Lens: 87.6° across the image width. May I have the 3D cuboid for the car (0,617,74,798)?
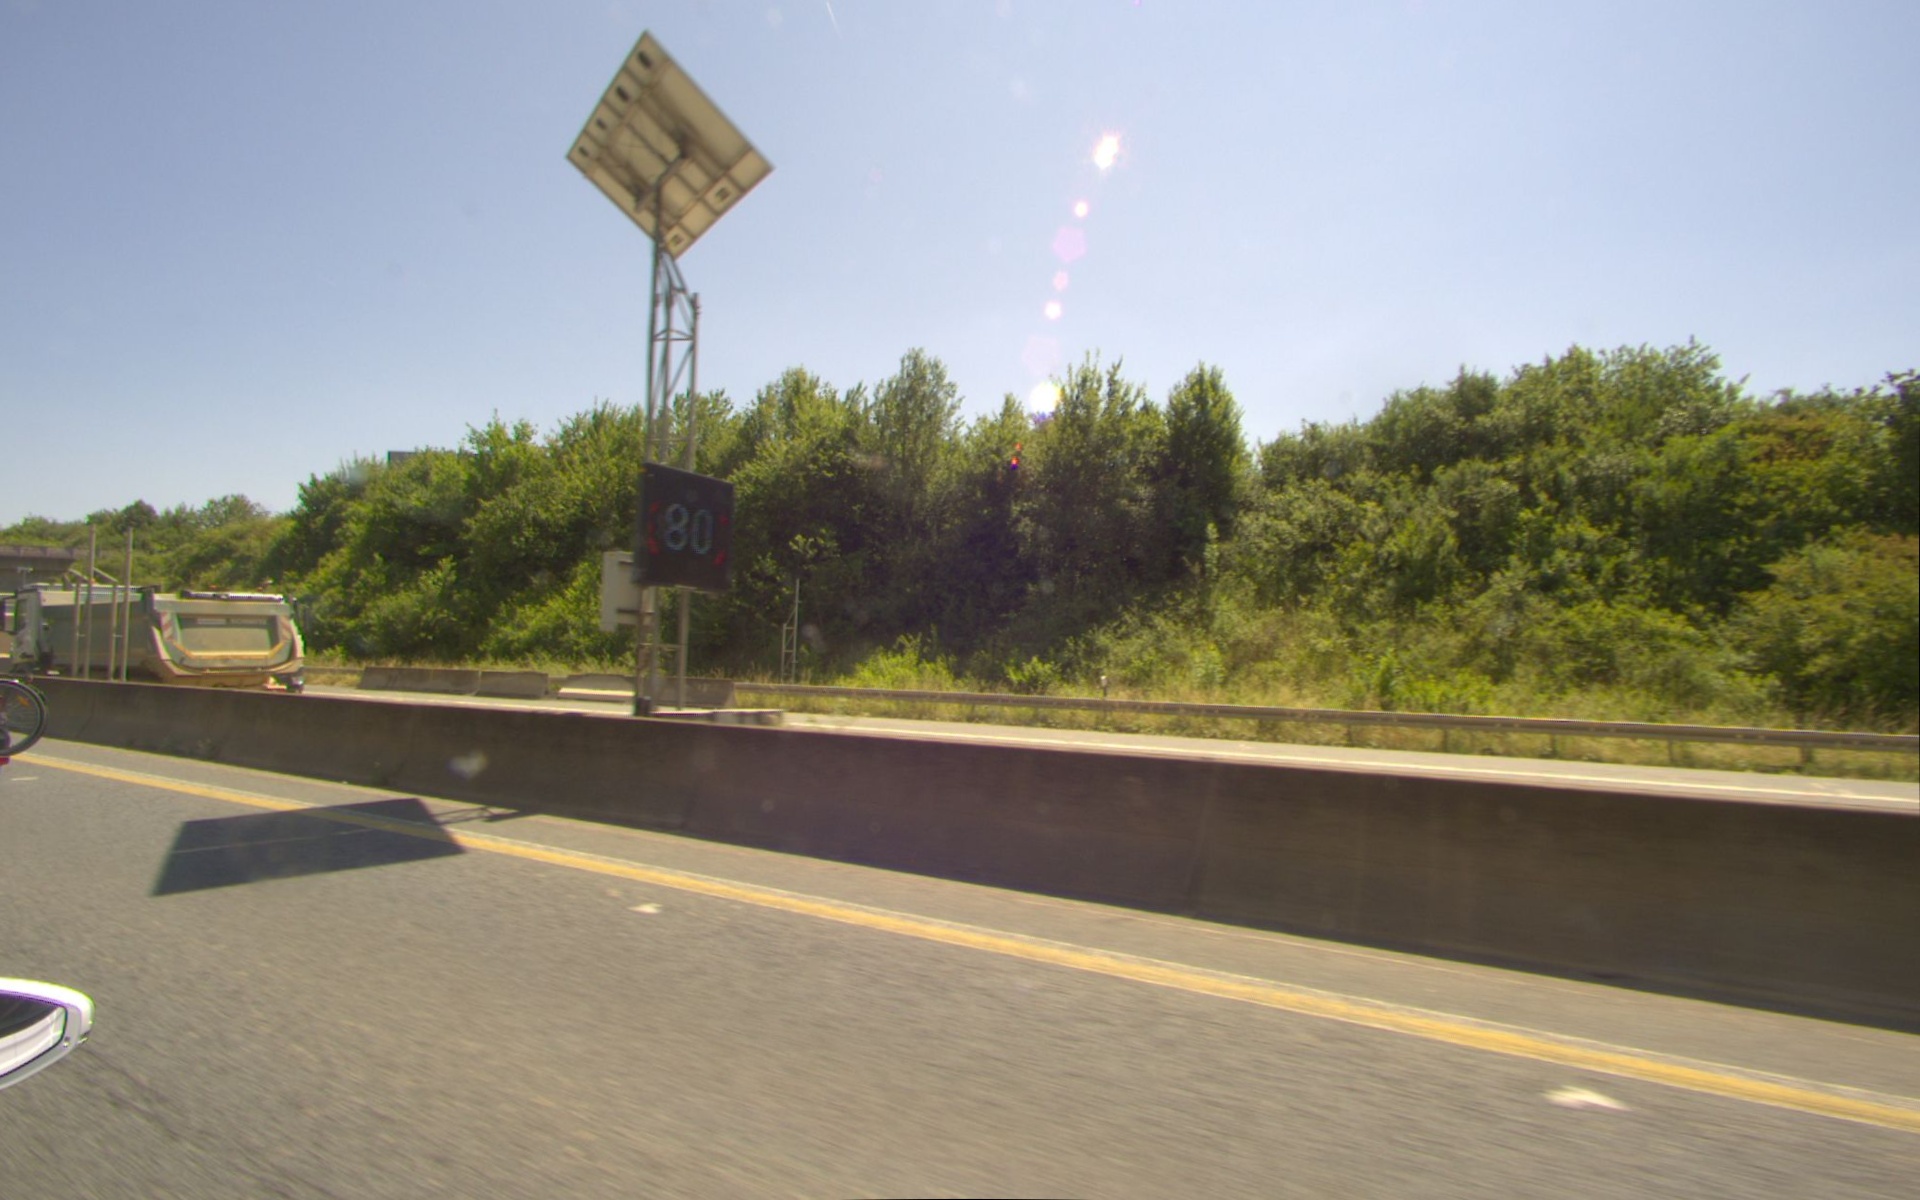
[{"bbox_3d":[-10.296,0.924,9.240,4.877,1.509,1.896,-1,-2,32],"label":"car"}]

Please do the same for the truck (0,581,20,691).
[{"bbox_3d":[-36.101,1.211,34.831,9.463,3.602,2.535,-1,-2,32],"label":"truck"}]

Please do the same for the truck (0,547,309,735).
[{"bbox_3d":[-18.191,0.864,22.337,8.964,3.556,2.530,-1,-2,32],"label":"truck"}]

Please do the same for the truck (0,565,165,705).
[{"bbox_3d":[-26.404,0.982,28.991,8.816,3.556,2.529,-1,-2,33],"label":"truck"}]

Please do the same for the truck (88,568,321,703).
[{"bbox_3d":[-22.576,1.029,29.777,8.258,3.556,2.684,-1,-2,32],"label":"truck"}]
